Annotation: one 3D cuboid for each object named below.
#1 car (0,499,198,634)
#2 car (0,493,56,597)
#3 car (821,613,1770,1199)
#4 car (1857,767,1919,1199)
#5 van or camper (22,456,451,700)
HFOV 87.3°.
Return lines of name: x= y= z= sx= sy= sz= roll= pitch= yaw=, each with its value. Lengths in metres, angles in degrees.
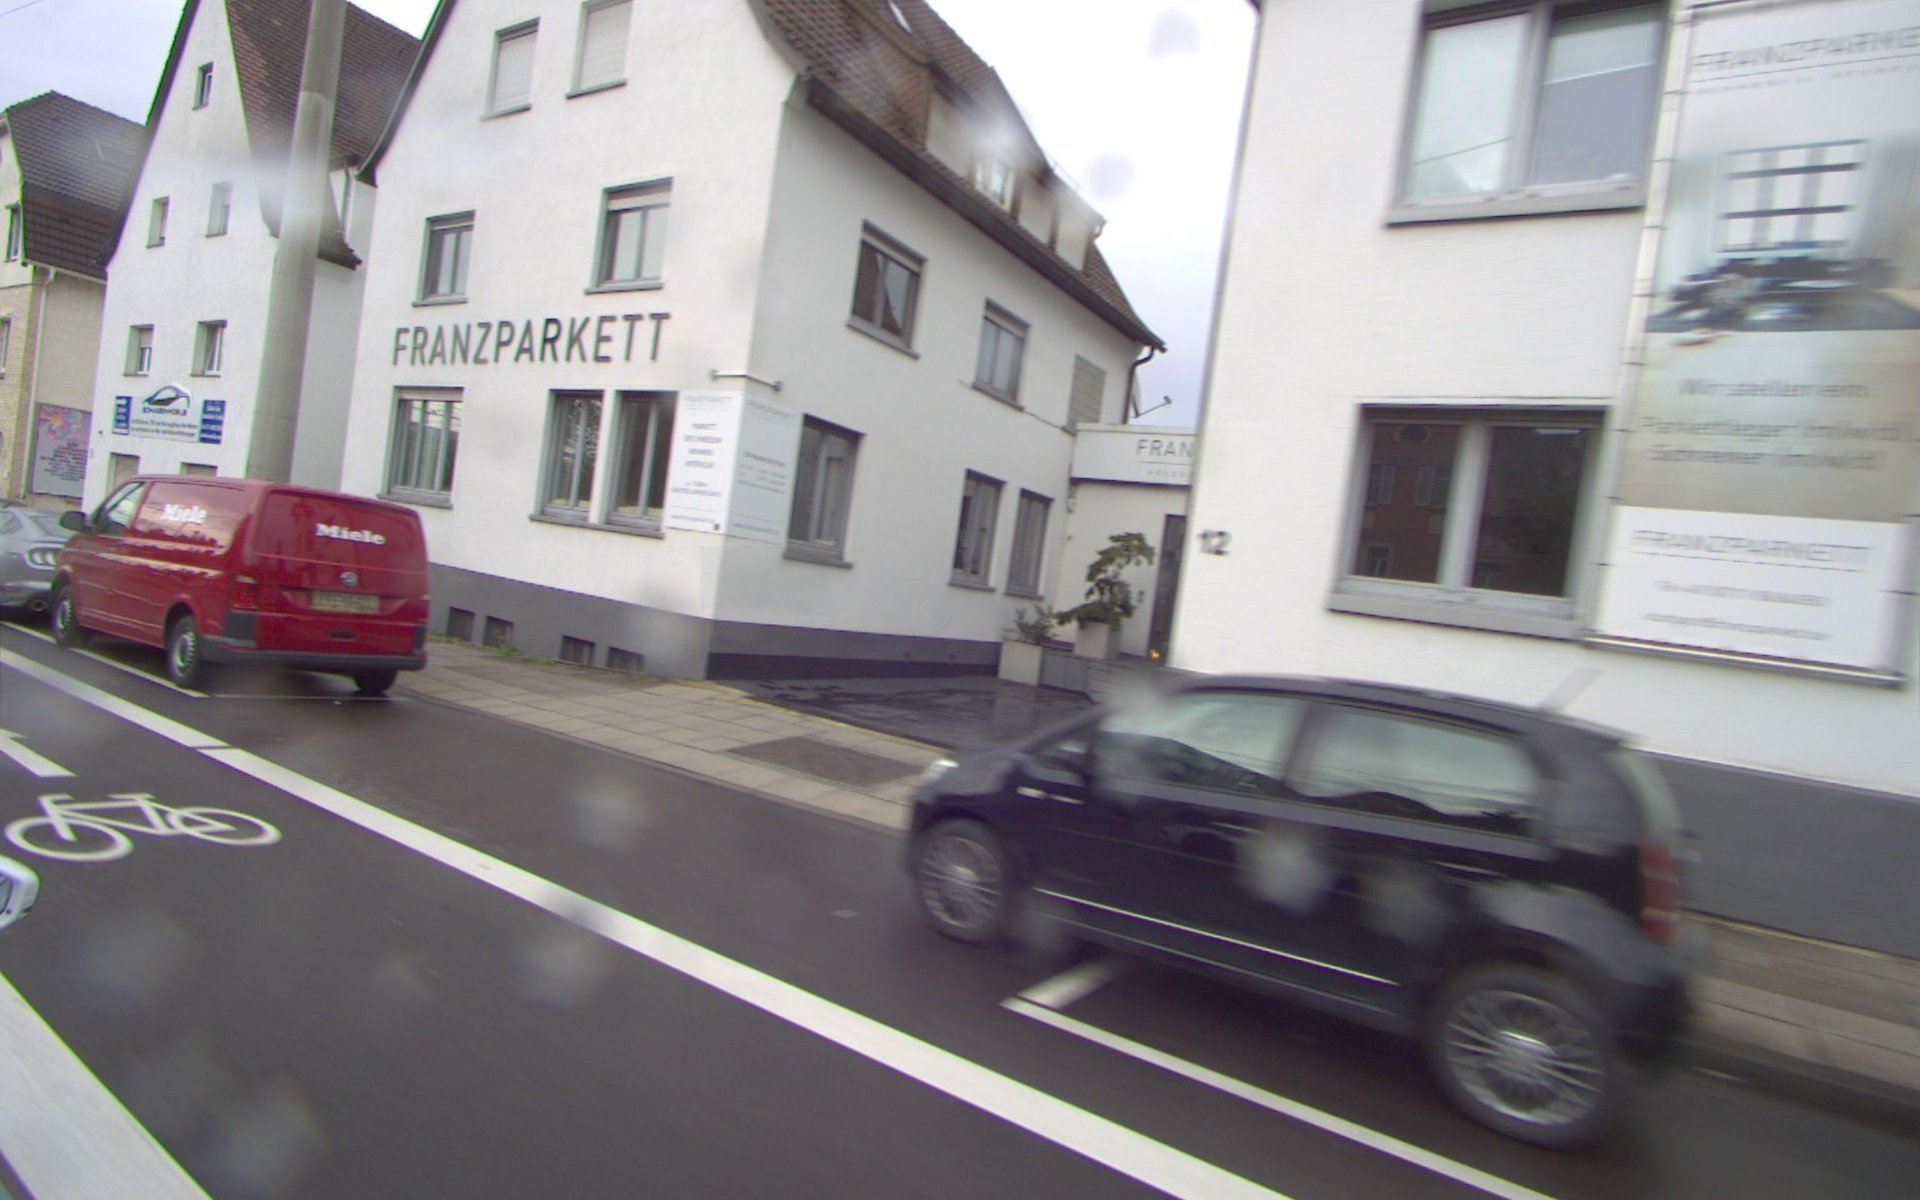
car: x=-12.239 y=-0.563 z=13.480 sx=4.596 sy=1.392 sz=1.798 roll=7 pitch=-1 yaw=35
car: x=-16.874 y=-1.122 z=16.652 sx=4.067 sy=1.555 sz=1.637 roll=7 pitch=-2 yaw=32
car: x=1.302 y=1.006 z=4.736 sx=3.661 sy=1.469 sz=1.579 roll=6 pitch=-1 yaw=34
car: x=5.031 y=1.510 z=2.010 sx=4.492 sy=1.429 sz=1.714 roll=7 pitch=-1 yaw=34
van or camper: x=-7.682 y=-0.303 z=10.517 sx=4.913 sy=1.944 sz=1.853 roll=7 pitch=0 yaw=33
